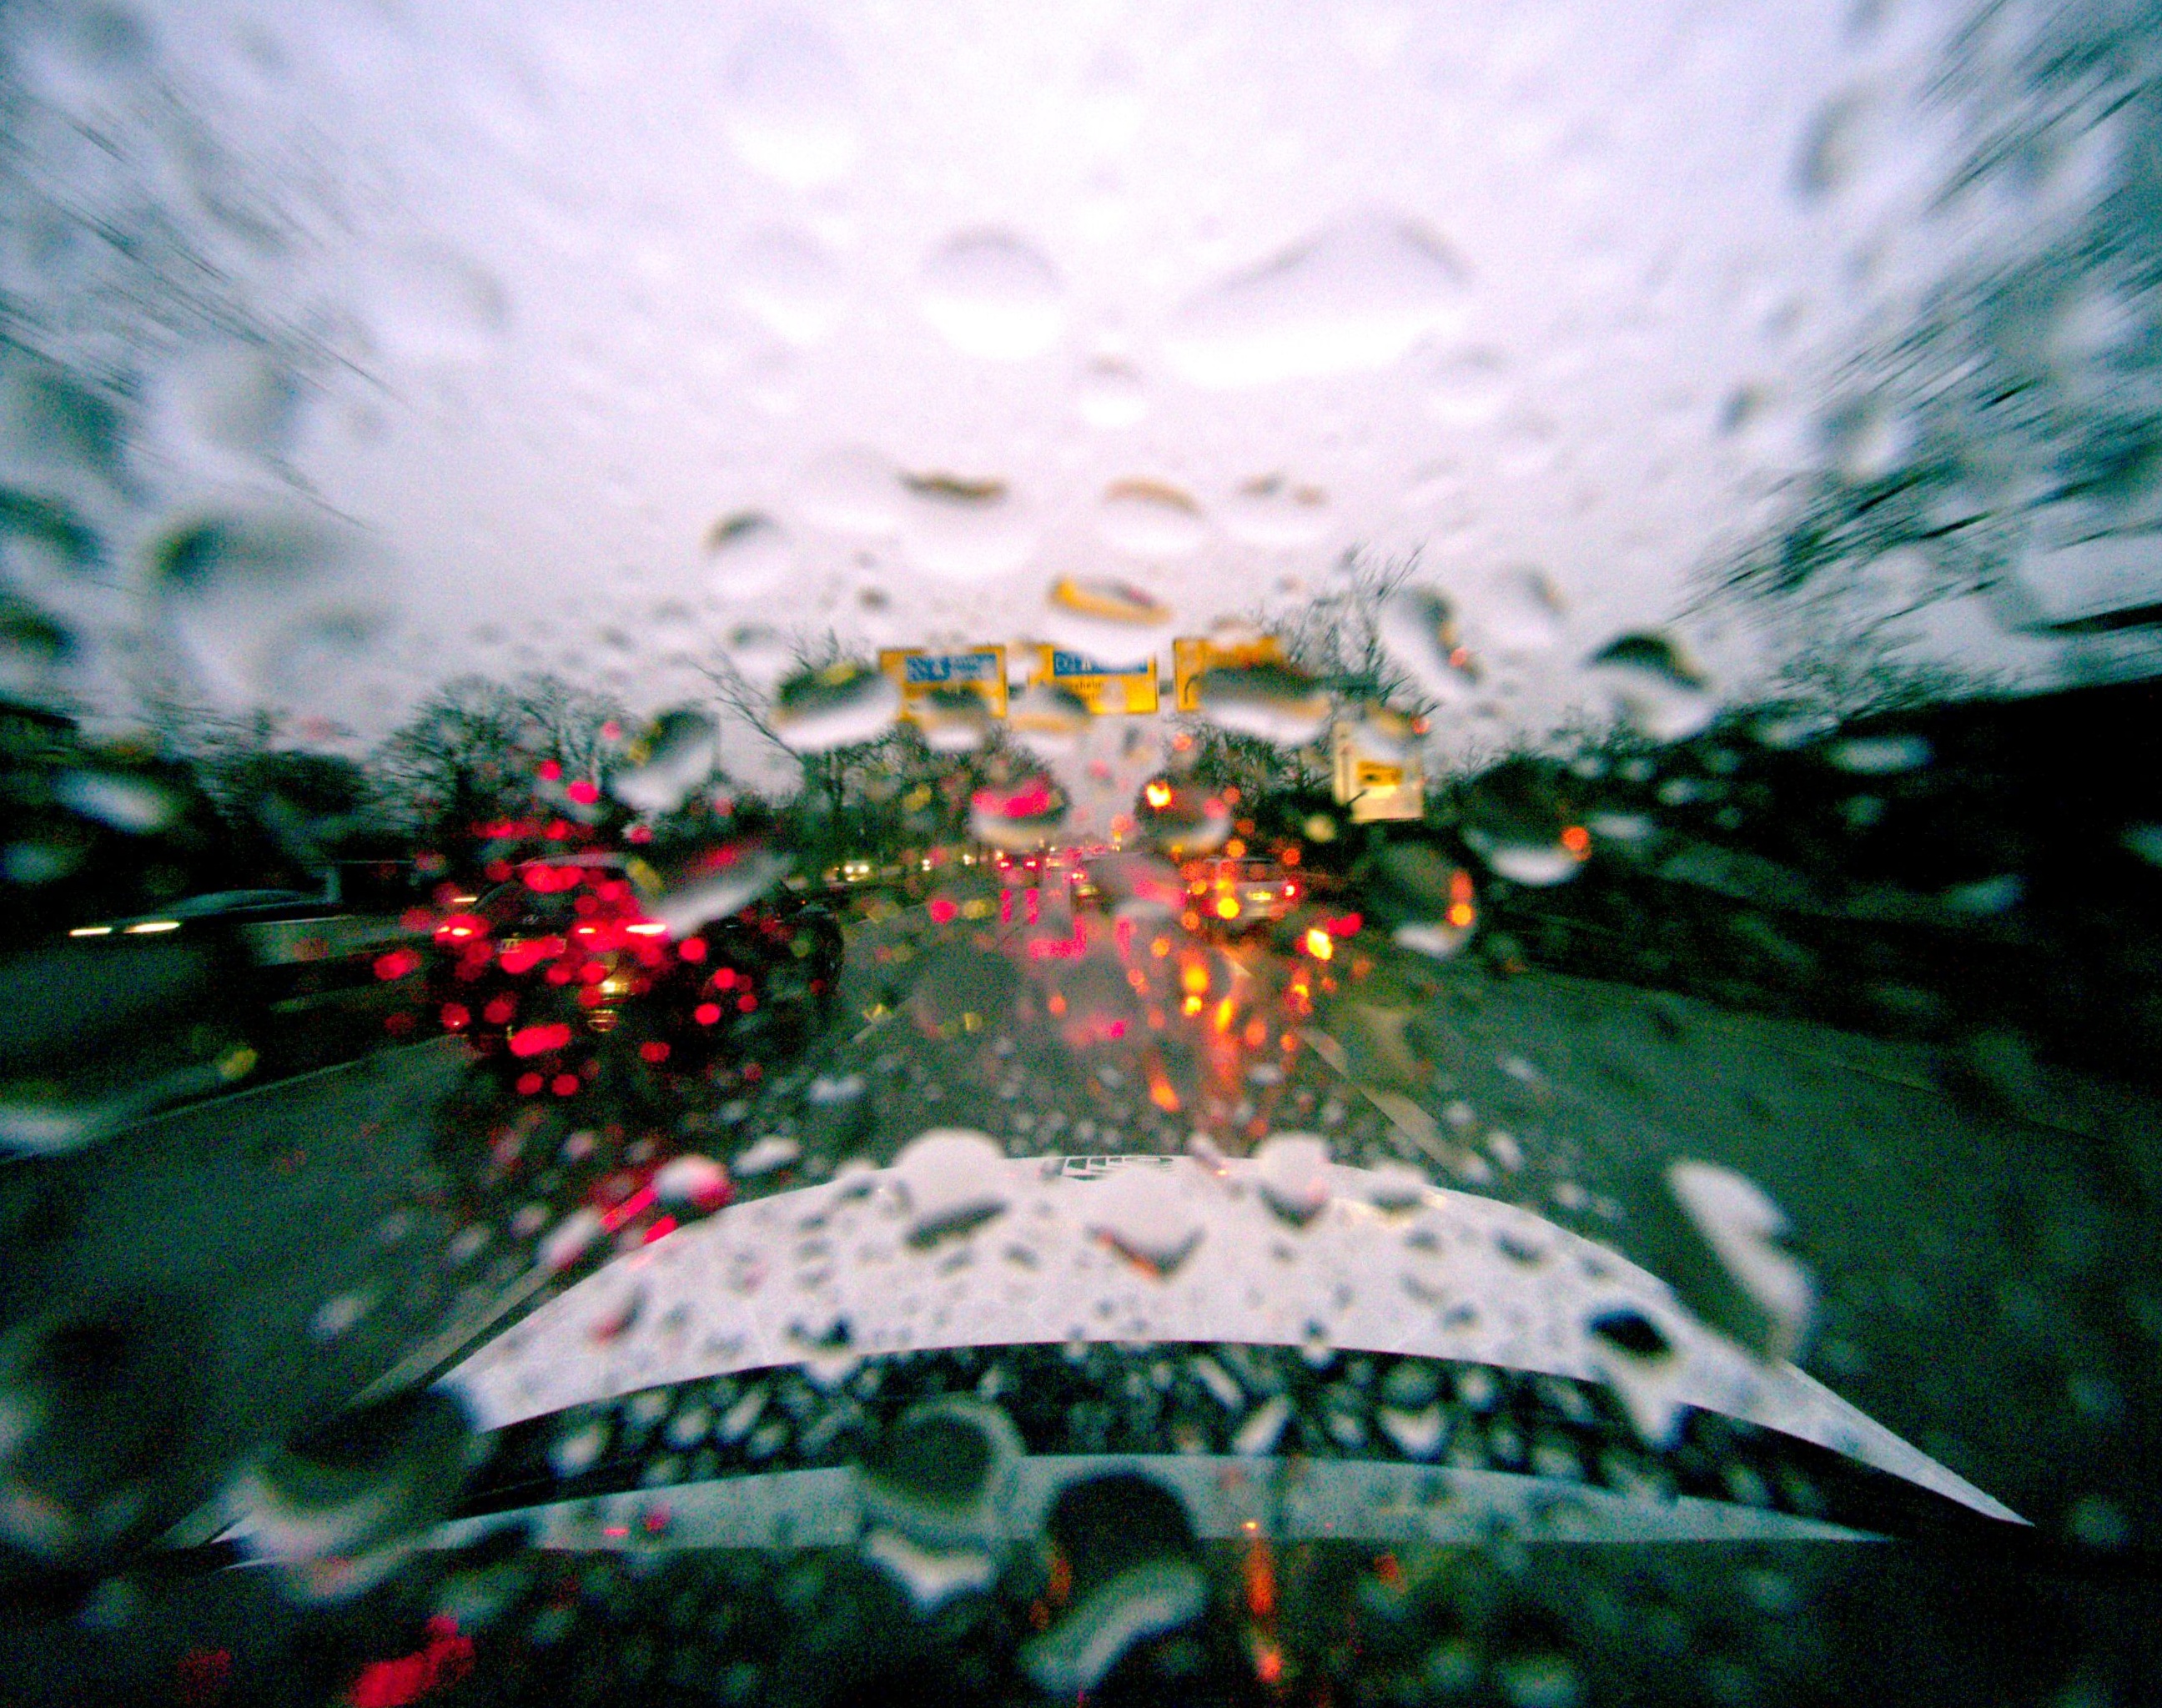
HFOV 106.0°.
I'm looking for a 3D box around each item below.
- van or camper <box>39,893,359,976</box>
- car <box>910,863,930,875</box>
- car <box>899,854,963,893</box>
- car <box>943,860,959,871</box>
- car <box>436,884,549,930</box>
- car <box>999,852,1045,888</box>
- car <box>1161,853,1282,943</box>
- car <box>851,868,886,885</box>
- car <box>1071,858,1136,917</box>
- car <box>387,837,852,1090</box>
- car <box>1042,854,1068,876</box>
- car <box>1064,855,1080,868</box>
[{"bbox_3d":[-20.424,1.785,19.333,1.897,1.446,5.159,-1,-1,1],"label":"van or camper"},{"bbox_3d":[-21.694,2.026,109.792,1.744,1.482,4.200,-2,0,3],"label":"car"},{"bbox_3d":[-6.654,0.860,36.546,1.986,1.597,4.001,-2,-1,1],"label":"car"},{"bbox_3d":[-17.752,1.566,111.323,1.633,1.339,3.998,-1,0,-1],"label":"car"},{"bbox_3d":[-27.693,2.441,38.517,1.985,1.851,4.429,-1,0,2],"label":"car"},{"bbox_3d":[-2.886,0.754,40.367,1.815,1.648,4.001,-2,-1,2],"label":"car"},{"bbox_3d":[2.820,0.851,17.282,1.926,1.648,4.468,-1,-1,2],"label":"car"},{"bbox_3d":[-18.384,1.899,70.616,1.745,1.308,4.316,-2,0,1],"label":"car"},{"bbox_3d":[0.703,0.967,25.202,1.815,1.648,4.468,-1,-1,2],"label":"car"},{"bbox_3d":[-3.751,0.755,7.747,1.816,1.648,4.466,-2,-1,0],"label":"car"},{"bbox_3d":[-2.088,0.885,67.244,1.815,1.648,4.001,-2,-1,2],"label":"car"},{"bbox_3d":[-0.983,0.769,88.138,1.499,1.339,4.001,-2,-1,2],"label":"car"}]
